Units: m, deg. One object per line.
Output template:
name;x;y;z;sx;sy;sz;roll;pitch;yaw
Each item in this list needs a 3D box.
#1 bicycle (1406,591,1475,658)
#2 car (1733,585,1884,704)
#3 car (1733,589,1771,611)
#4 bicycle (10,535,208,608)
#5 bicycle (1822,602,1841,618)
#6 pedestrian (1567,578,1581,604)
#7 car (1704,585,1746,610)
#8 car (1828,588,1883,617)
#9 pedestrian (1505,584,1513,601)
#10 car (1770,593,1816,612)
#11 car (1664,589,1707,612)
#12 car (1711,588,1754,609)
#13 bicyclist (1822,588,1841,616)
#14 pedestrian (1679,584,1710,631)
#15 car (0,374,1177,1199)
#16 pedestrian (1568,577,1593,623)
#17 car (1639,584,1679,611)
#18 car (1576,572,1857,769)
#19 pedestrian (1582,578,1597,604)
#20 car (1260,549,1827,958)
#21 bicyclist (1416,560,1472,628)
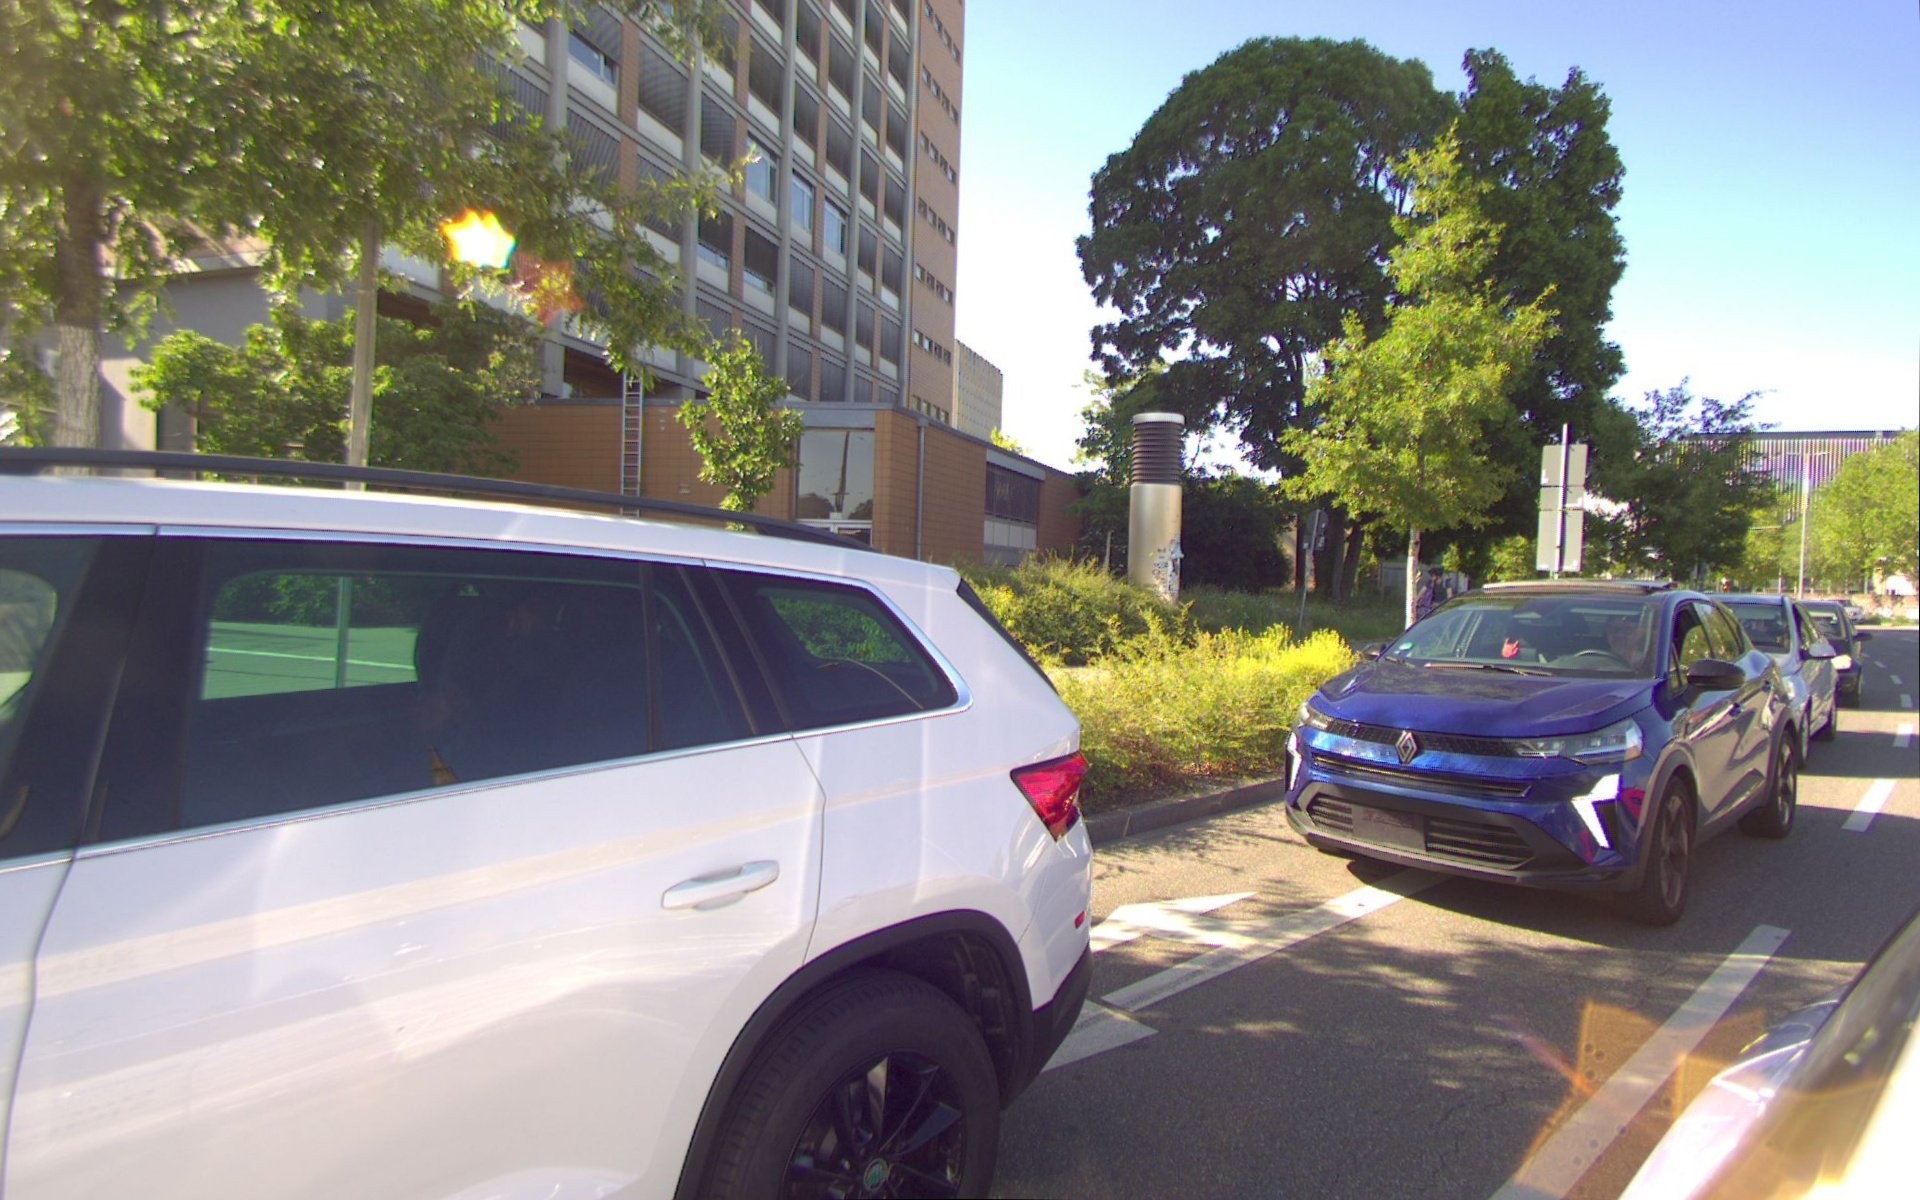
bicycle;9.589;0.468;20.164;0.690;1.232;1.807;5;4;41
car;13.589;0.624;16.144;1.646;1.631;3.435;3;2;43
car;61.987;-0.013;79.239;1.578;1.625;3.048;2;1;23
bicycle;-17.546;-0.580;21.011;0.790;1.394;3.111;2;1;26
bicycle;49.712;0.577;57.732;0.586;0.900;1.636;0;0;32
pedestrian;47.140;-0.684;77.716;0.811;1.941;0.767;0;0;19
car;64.944;-0.264;85.940;1.767;2.039;4.201;1;1;22
car;54.300;0.140;61.442;1.509;1.700;3.353;1;0;24
pedestrian;65.148;-0.900;120.086;0.812;1.941;0.766;0;0;23
car;59.302;0.188;72.137;1.569;1.219;3.967;0;2;25
car;48.816;0.042;68.161;1.735;1.494;3.543;0;1;26
car;52.447;-0.120;68.762;1.736;1.396;3.540;1;1;27
bicyclist;49.711;0.104;57.705;0.690;1.578;0.807;0;0;32
pedestrian;26.134;0.256;36.015;0.684;1.624;0.657;2;1;20
car;-1.613;0.565;1.684;4.223;1.662;1.697;0;2;-42
pedestrian;22.542;-0.005;36.765;0.688;1.624;0.653;2;1;35
car;51.138;-0.183;74.080;1.811;1.876;3.717;2;1;27
car;8.085;0.586;10.669;3.977;1.645;1.782;0;2;-45
pedestrian;47.850;-0.677;76.916;0.811;1.941;0.767;0;0;19
car;3.647;0.598;5.995;4.013;1.626;1.704;0;1;-41
bicyclist;9.602;-0.128;20.072;0.720;1.294;0.893;5;3;42
